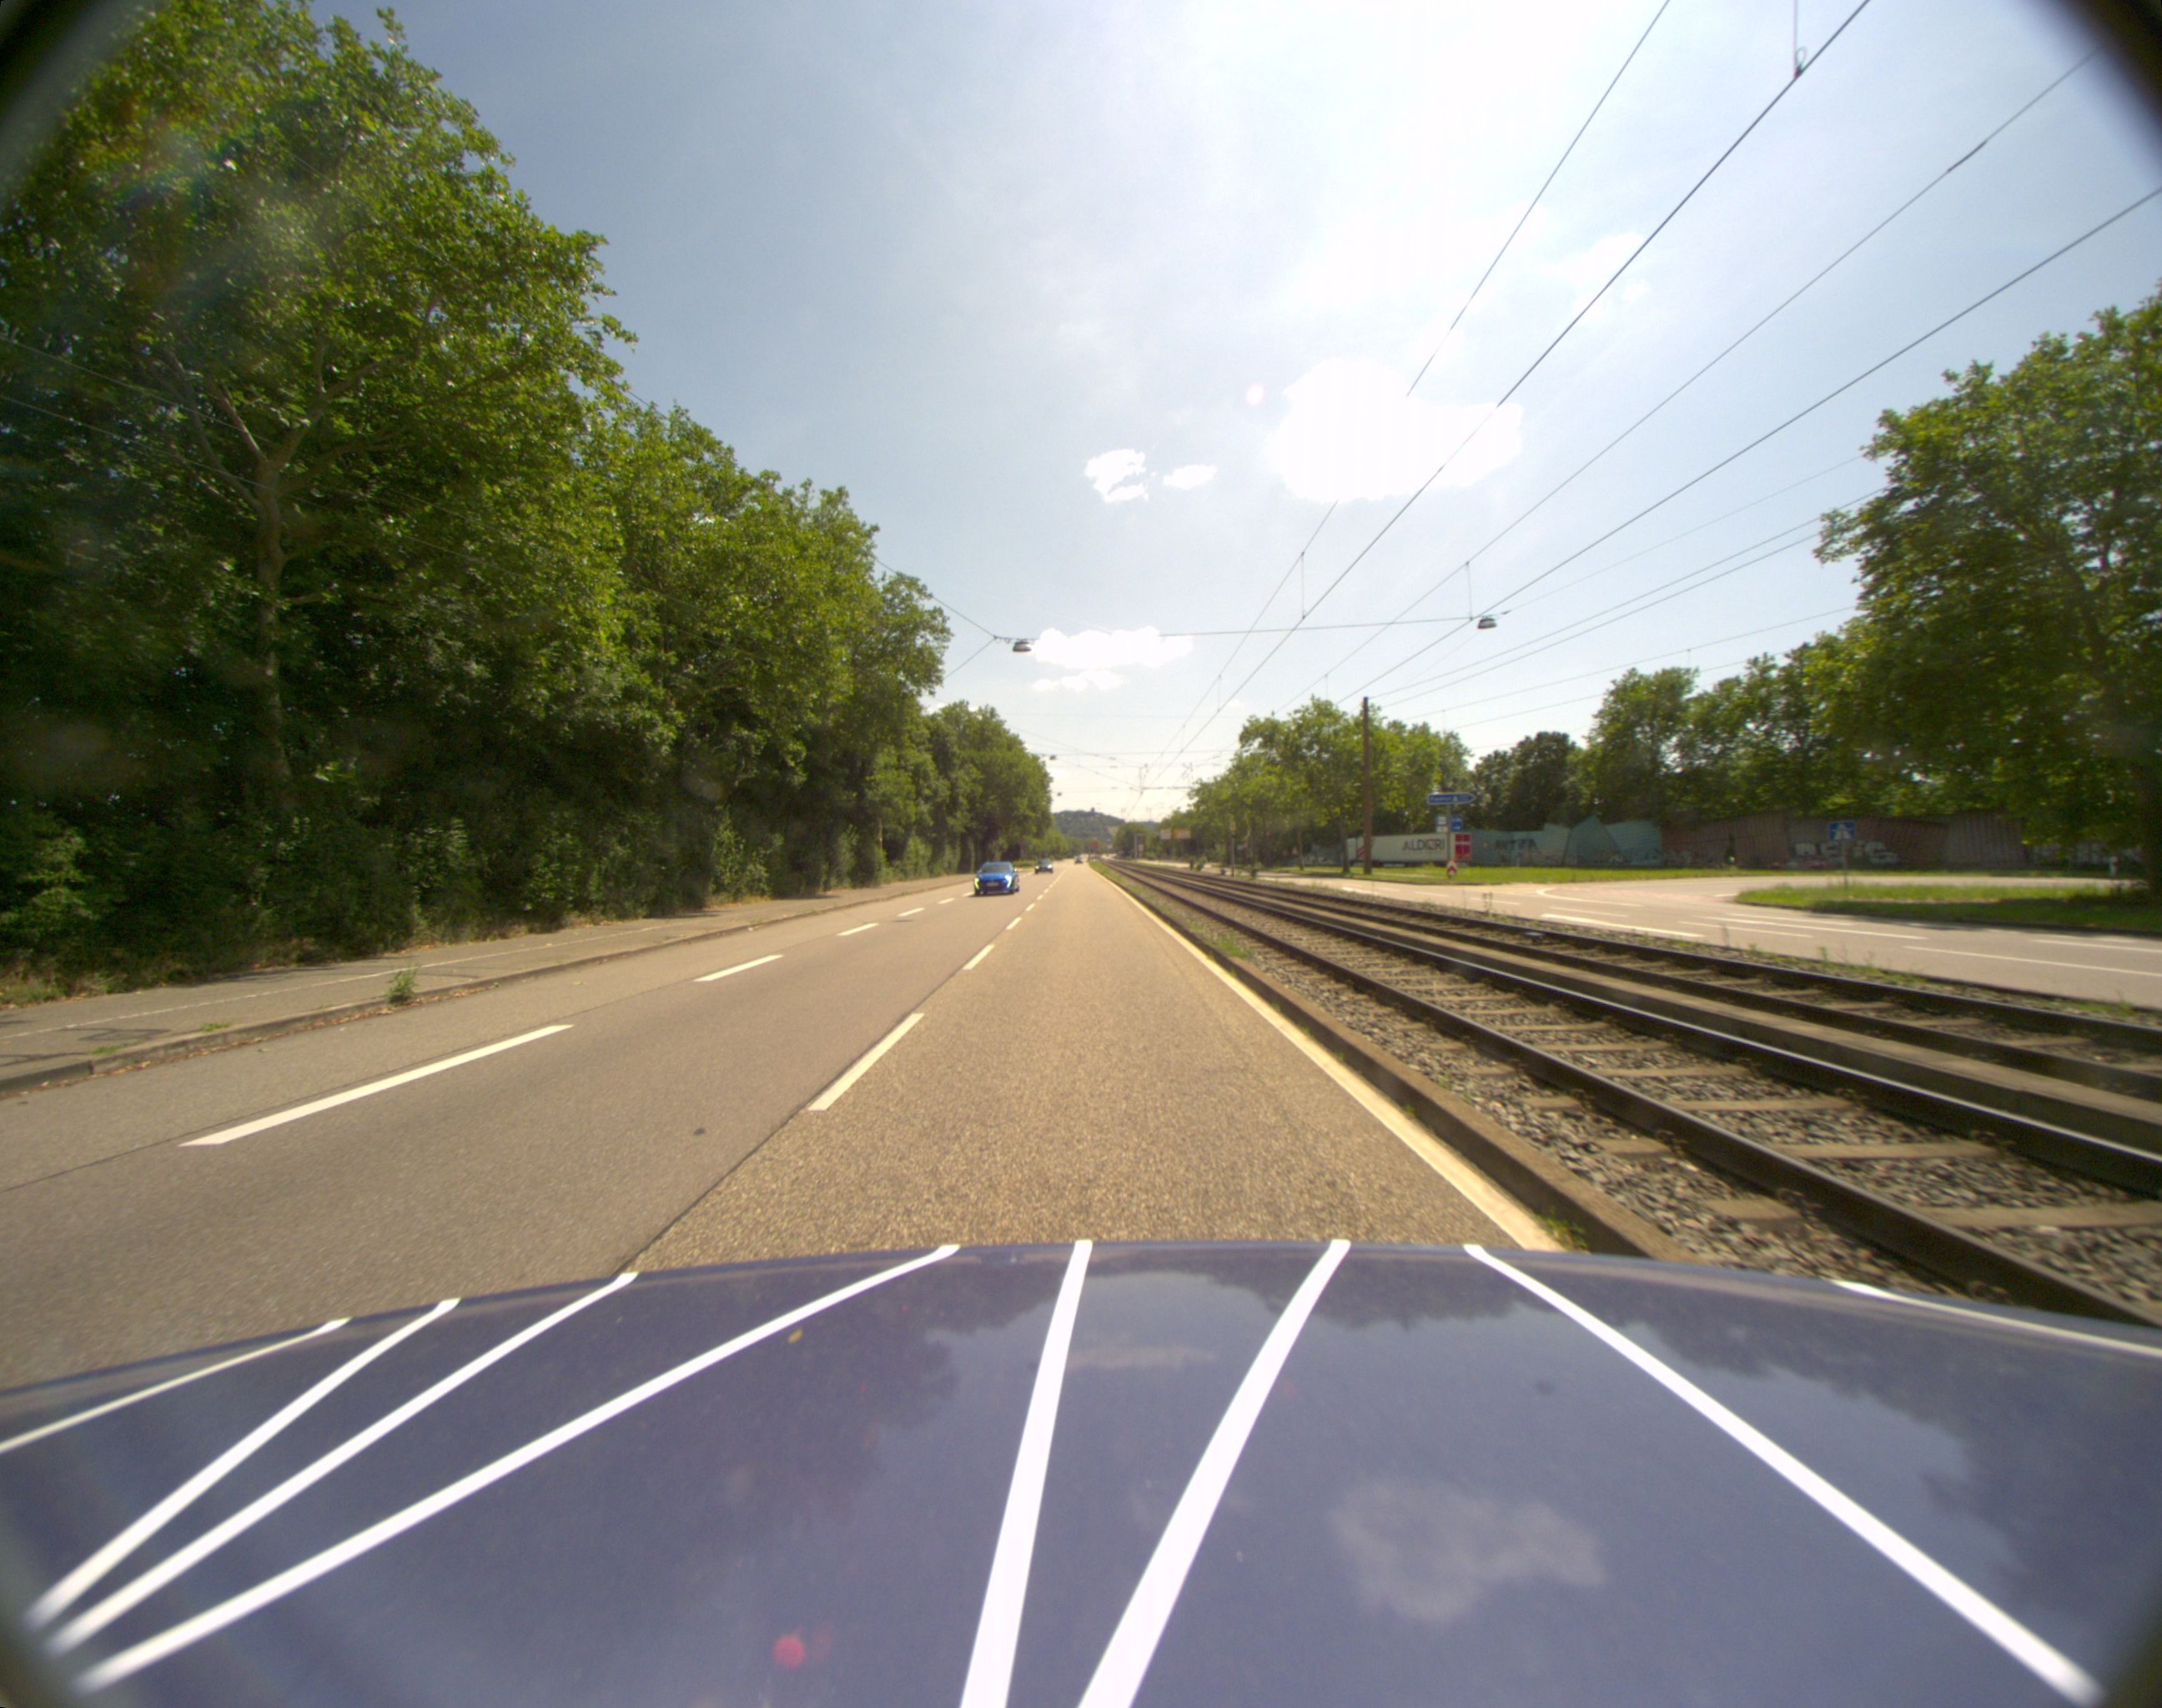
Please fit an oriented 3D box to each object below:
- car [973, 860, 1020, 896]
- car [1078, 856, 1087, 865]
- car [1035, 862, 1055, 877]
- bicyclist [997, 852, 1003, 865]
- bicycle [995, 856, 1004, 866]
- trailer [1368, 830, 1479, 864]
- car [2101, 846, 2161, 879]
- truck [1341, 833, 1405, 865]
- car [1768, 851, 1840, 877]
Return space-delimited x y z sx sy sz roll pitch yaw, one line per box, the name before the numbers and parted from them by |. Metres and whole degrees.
car | -3.765 1.060 34.324 1.660 1.397 3.743 -2 1 -1
car | 0.353 1.422 167.858 1.998 2.002 3.999 -2 1 0
car | -3.670 1.580 77.543 1.769 1.359 3.743 -2 1 0
bicyclist | -9.496 0.525 89.104 0.704 1.431 0.641 -1 1 1
bicycle | -9.528 0.861 88.924 0.710 1.131 2.538 -1 0 2
trailer | 38.340 -0.706 85.779 3.393 3.633 12.084 -1 0 -25
car | 58.659 0.453 41.439 1.567 1.781 3.392 -1 0 -25
truck | 35.314 -0.568 92.148 3.423 3.680 6.745 -1 0 -26
car | 52.192 0.694 54.898 1.567 1.781 3.392 -1 0 -25
